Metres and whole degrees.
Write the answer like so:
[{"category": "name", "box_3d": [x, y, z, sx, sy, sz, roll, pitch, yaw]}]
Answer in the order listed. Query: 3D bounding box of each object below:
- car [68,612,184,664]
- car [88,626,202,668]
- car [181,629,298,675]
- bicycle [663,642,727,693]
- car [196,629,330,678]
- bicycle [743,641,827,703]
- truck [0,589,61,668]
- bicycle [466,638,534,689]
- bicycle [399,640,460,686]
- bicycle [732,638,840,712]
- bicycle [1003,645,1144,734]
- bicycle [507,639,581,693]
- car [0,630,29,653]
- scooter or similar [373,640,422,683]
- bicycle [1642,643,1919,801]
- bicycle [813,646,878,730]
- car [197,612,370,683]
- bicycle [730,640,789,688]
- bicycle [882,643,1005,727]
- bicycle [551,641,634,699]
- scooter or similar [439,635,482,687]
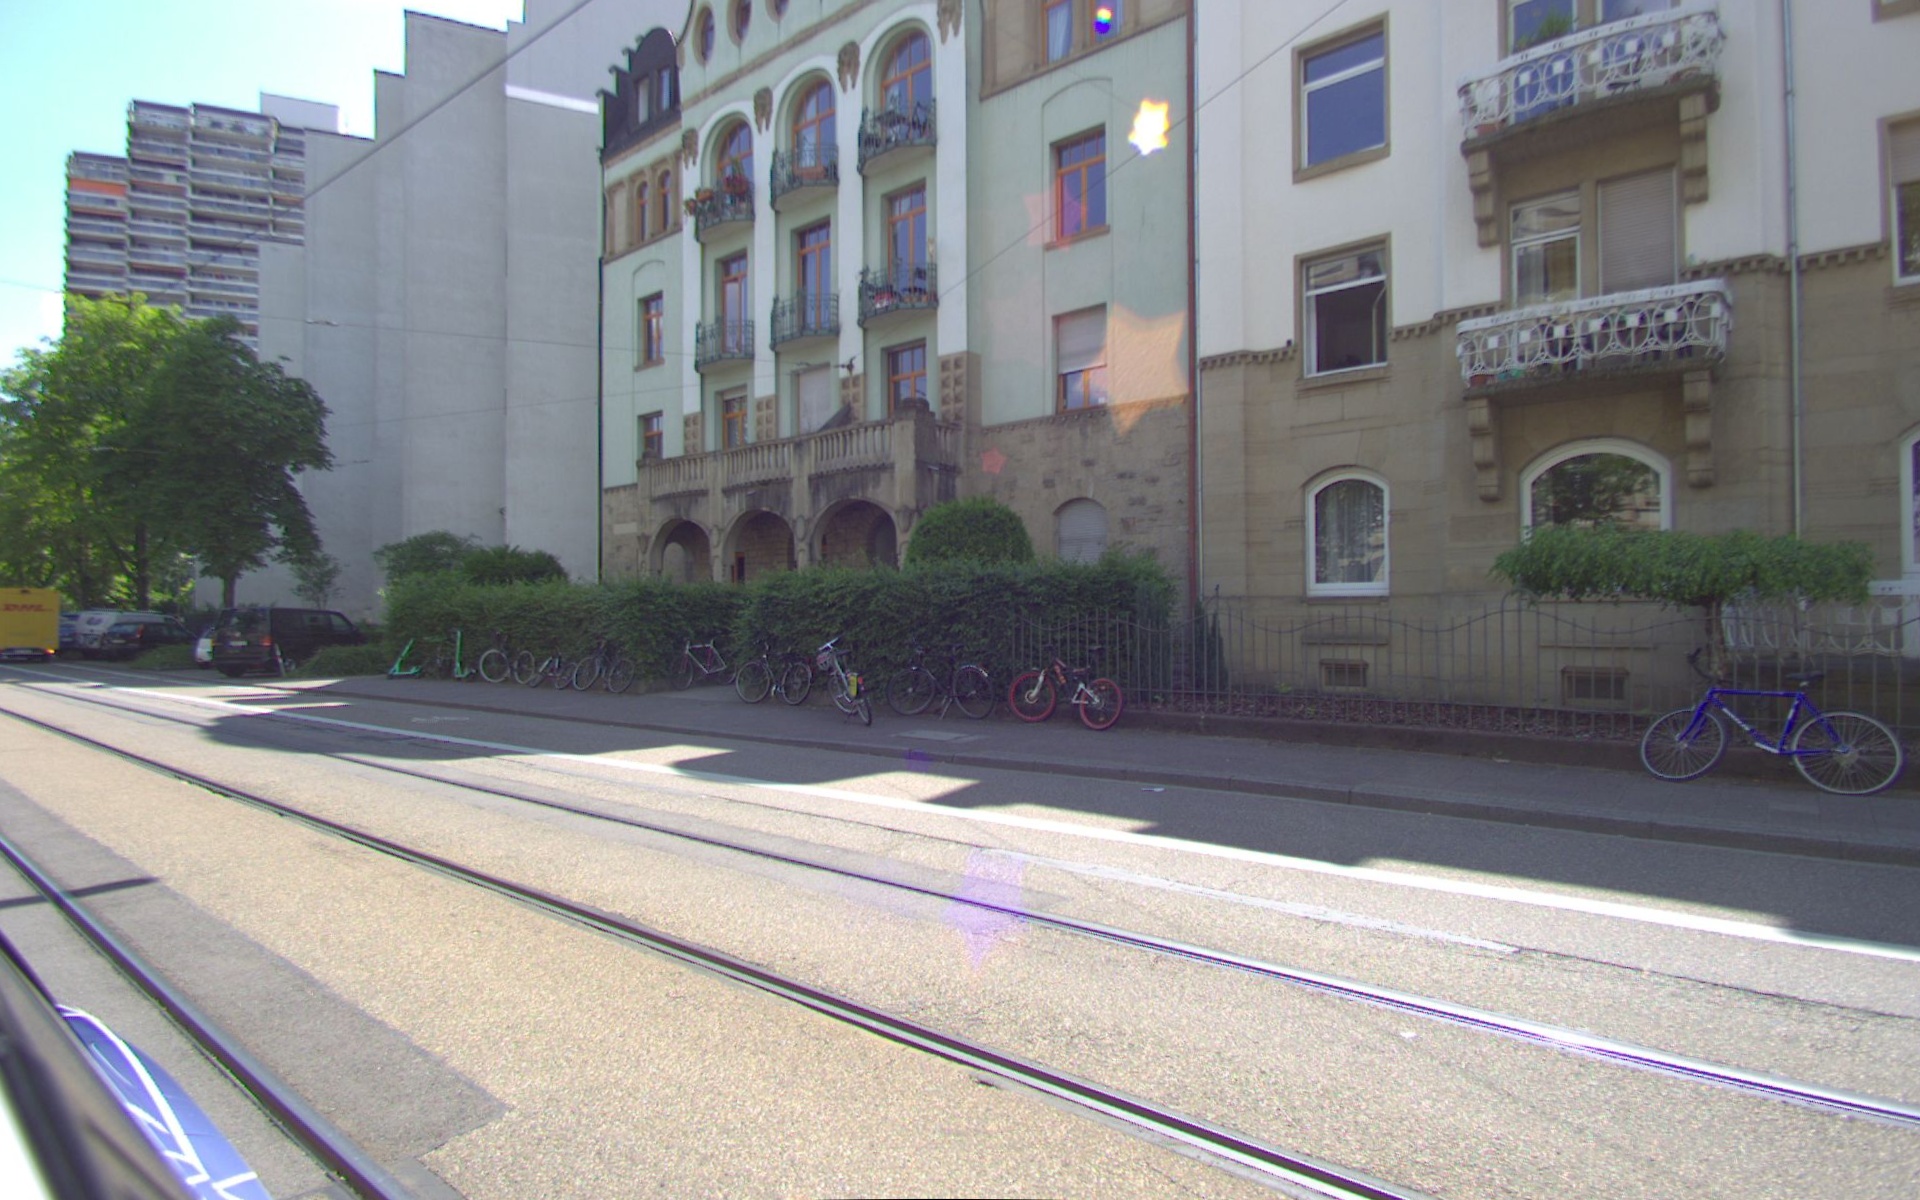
[{"category": "car", "box_3d": [-34.881, 1.566, 42.482, 1.579, 2.058, 4.053, 0, -1, -1]}, {"category": "car", "box_3d": [-32.243, 1.822, 40.148, 1.658, 1.587, 3.687, 0, -1, -3]}, {"category": "car", "box_3d": [-24.520, 1.740, 34.596, 1.700, 1.465, 3.632, 0, -1, -6]}, {"category": "bicycle", "box_3d": [-5.008, 1.267, 19.162, 0.339, 0.915, 1.192, -2, -2, 41]}, {"category": "car", "box_3d": [-22.165, 1.663, 32.384, 1.658, 1.465, 3.946, 0, -1, -1]}, {"category": "bicycle", "box_3d": [-3.037, 1.235, 17.689, 0.391, 0.935, 1.557, -2, 1, 39]}, {"category": "truck", "box_3d": [-37.685, 1.138, 40.080, 6.512, 2.943, 2.277, -2, -2, 41]}, {"category": "bicycle", "box_3d": [-9.867, 1.347, 21.678, 1.706, 0.996, 0.602, -2, 2, 40]}, {"category": "bicycle", "box_3d": [-12.502, 1.466, 23.841, 1.706, 0.996, 0.602, -2, 2, 40]}, {"category": "bicycle", "box_3d": [-2.725, 1.136, 15.721, 1.770, 1.040, 0.602, -2, 2, 40]}, {"category": "bicycle", "box_3d": [1.354, 1.056, 12.283, 1.724, 0.973, 0.409, -2, 2, 40]}, {"category": "bicycle", "box_3d": [-8.382, 1.315, 20.377, 1.706, 0.996, 0.602, -2, 2, 40]}, {"category": "car", "box_3d": [-62.721, 2.674, 65.586, 1.656, 1.465, 3.680, 0, -1, -6]}, {"category": "scooter or similar", "box_3d": [-13.810, 1.508, 24.842, 1.216, 1.028, 0.404, -1, -2, 24]}, {"category": "bicycle", "box_3d": [6.468, 0.903, 7.946, 1.770, 1.072, 0.602, -2, 2, 40]}, {"category": "bicycle", "box_3d": [-1.558, 1.139, 13.555, 0.599, 1.007, 1.779, 0, -1, -15]}, {"category": "car", "box_3d": [-19.747, 1.348, 29.832, 1.936, 1.940, 4.583, 0, -1, 2]}, {"category": "bicycle", "box_3d": [-4.030, 1.278, 20.384, 0.339, 0.915, 1.192, -2, -2, 41]}, {"category": "bicycle", "box_3d": [-0.234, 1.091, 13.395, 1.706, 1.006, 0.460, -2, 2, 40]}, {"category": "bicycle", "box_3d": [-6.926, 1.297, 19.048, 1.770, 0.983, 0.602, -2, 2, 40]}, {"category": "scooter or similar", "box_3d": [-11.212, 1.361, 22.696, 1.290, 1.128, 0.401, -2, -2, 42]}]
